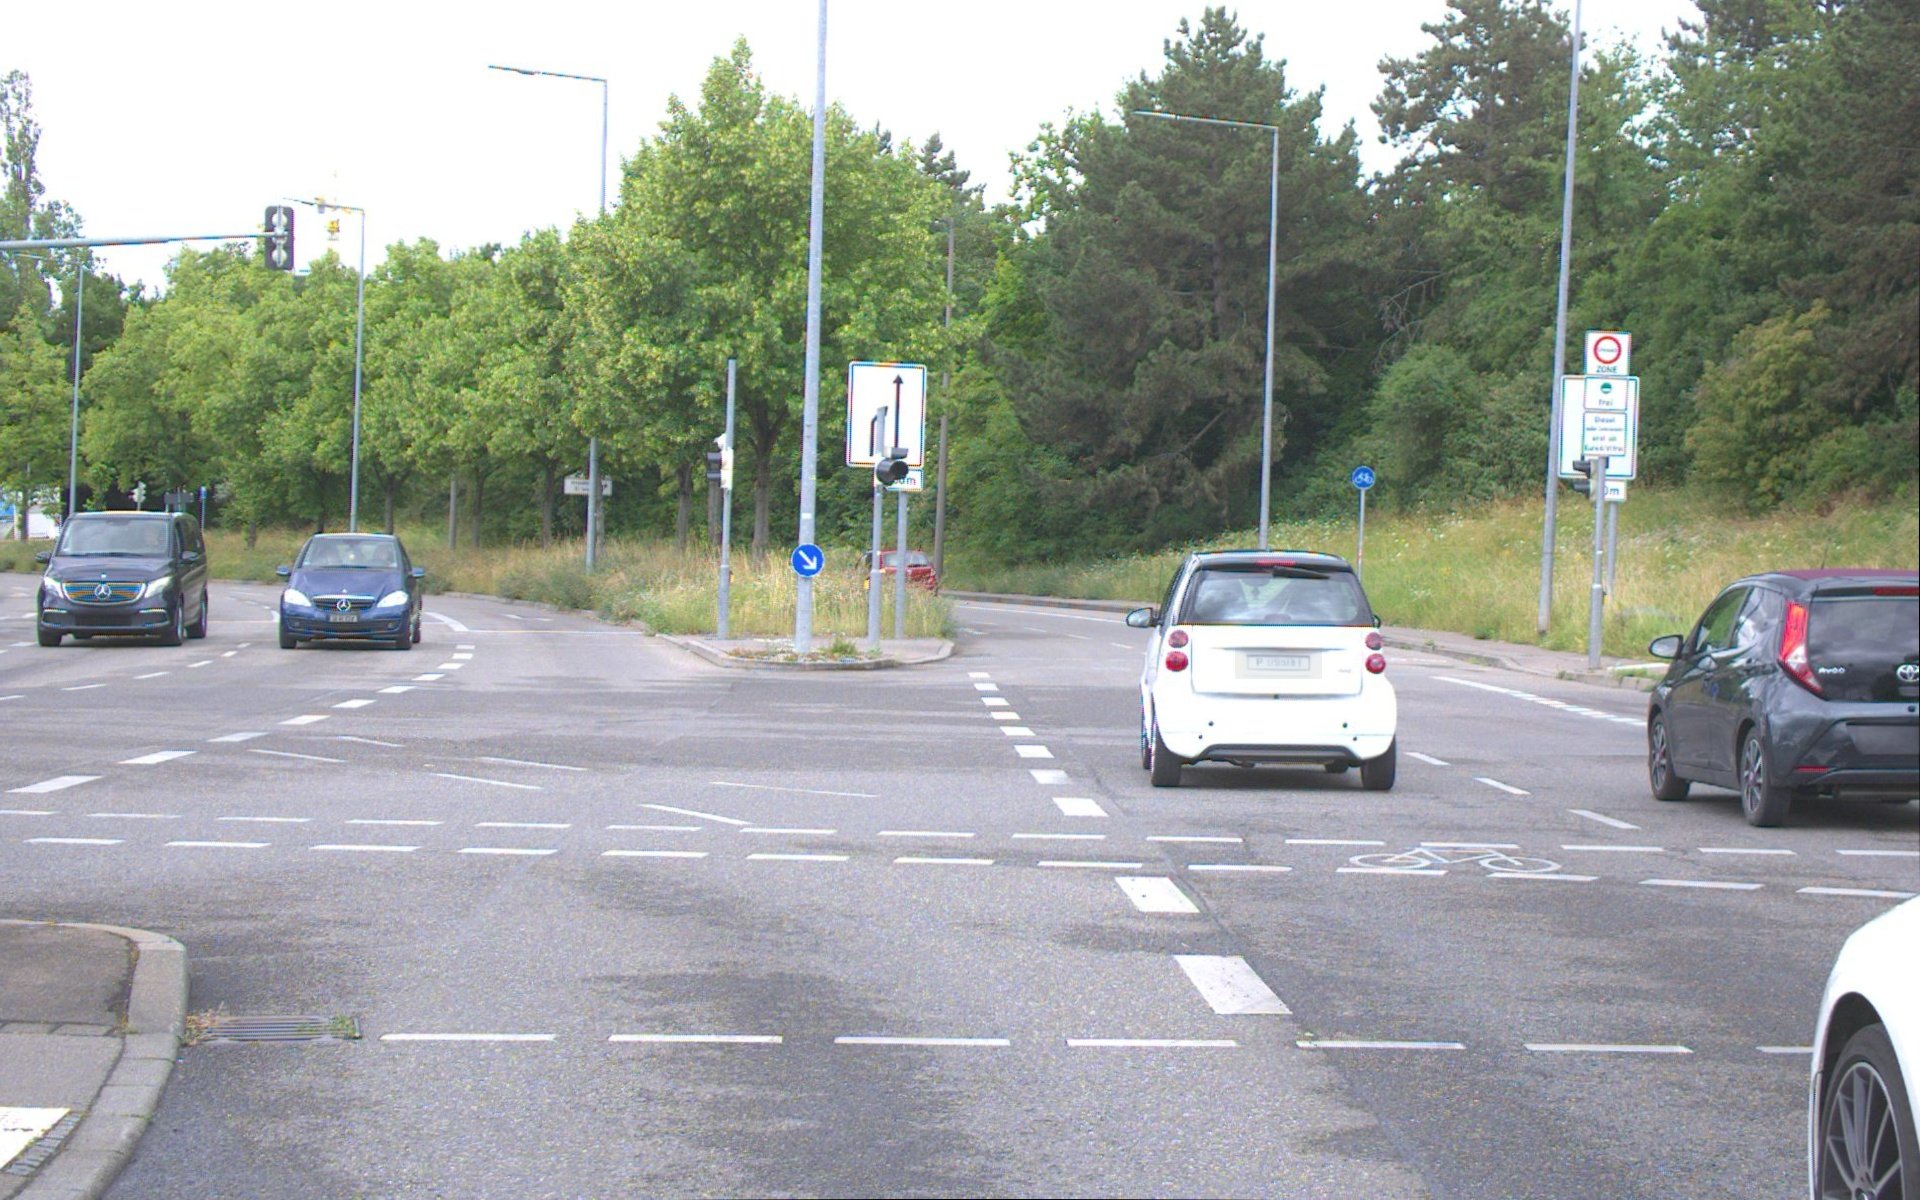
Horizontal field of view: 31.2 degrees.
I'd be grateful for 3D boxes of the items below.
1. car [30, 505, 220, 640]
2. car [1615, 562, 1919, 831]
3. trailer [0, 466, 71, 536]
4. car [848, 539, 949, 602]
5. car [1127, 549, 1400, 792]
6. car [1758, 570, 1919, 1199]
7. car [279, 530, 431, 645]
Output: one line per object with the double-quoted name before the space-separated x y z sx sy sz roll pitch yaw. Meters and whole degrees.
"car" -11.730 -0.407 48.609 1.887 1.806 5.093 0 1 -5
"car" 5.118 0.510 20.548 1.613 1.448 3.882 1 0 0
"trailer" -42.516 -4.407 153.705 2.748 3.002 6.084 0 1 -44
"car" -1.646 -0.774 90.551 1.784 1.598 3.888 1 0 -15
"car" 1.987 0.434 23.143 1.592 1.511 2.766 1 0 0
"car" 2.482 0.724 4.420 1.844 1.501 4.531 1 0 0
"car" -8.351 -0.186 47.667 1.735 1.503 3.661 1 0 -5
